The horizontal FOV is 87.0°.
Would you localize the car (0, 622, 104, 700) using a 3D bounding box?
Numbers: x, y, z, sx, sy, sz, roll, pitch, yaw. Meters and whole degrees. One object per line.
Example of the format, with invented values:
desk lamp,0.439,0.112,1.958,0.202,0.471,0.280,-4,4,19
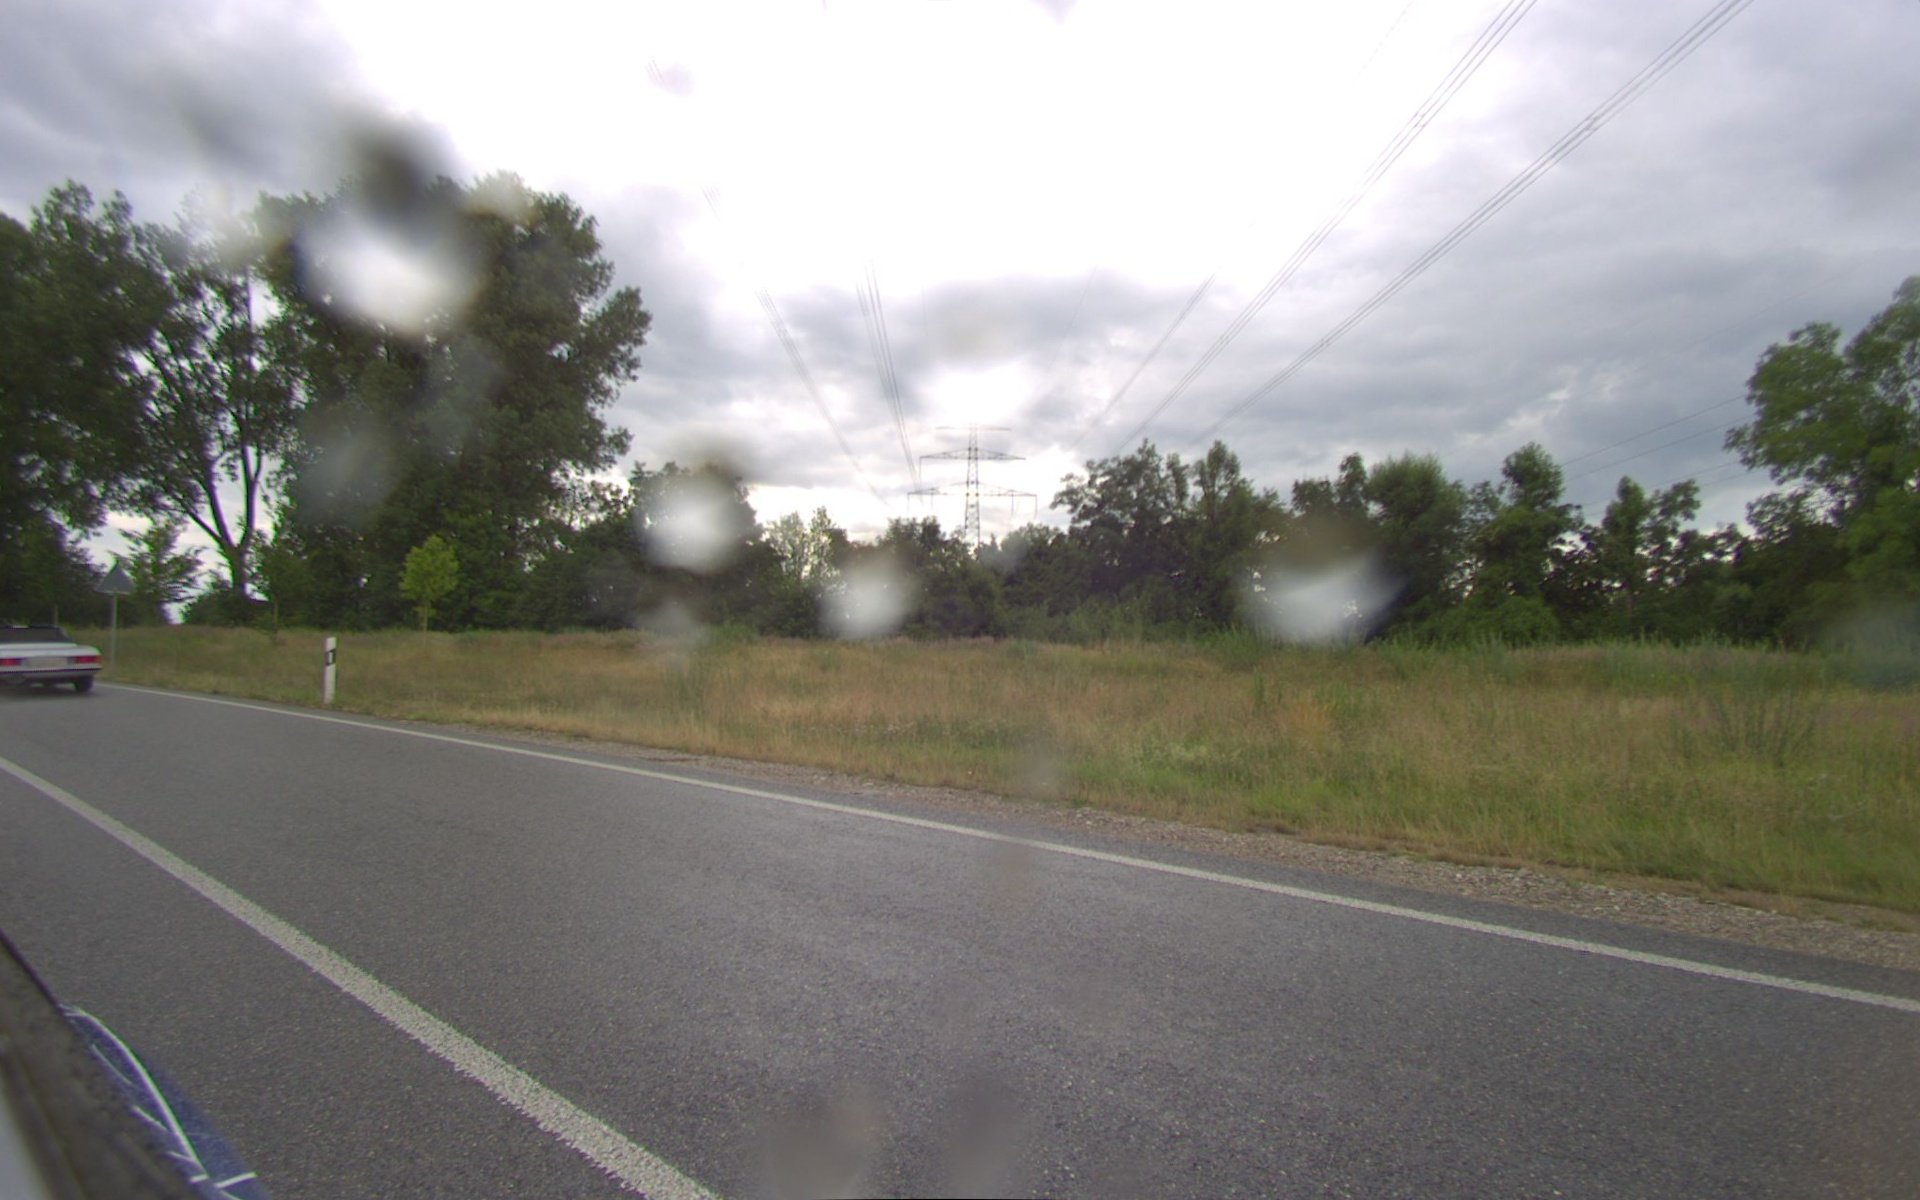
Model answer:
car,-17.975,1.103,19.453,3.997,1.260,1.701,0,0,40
